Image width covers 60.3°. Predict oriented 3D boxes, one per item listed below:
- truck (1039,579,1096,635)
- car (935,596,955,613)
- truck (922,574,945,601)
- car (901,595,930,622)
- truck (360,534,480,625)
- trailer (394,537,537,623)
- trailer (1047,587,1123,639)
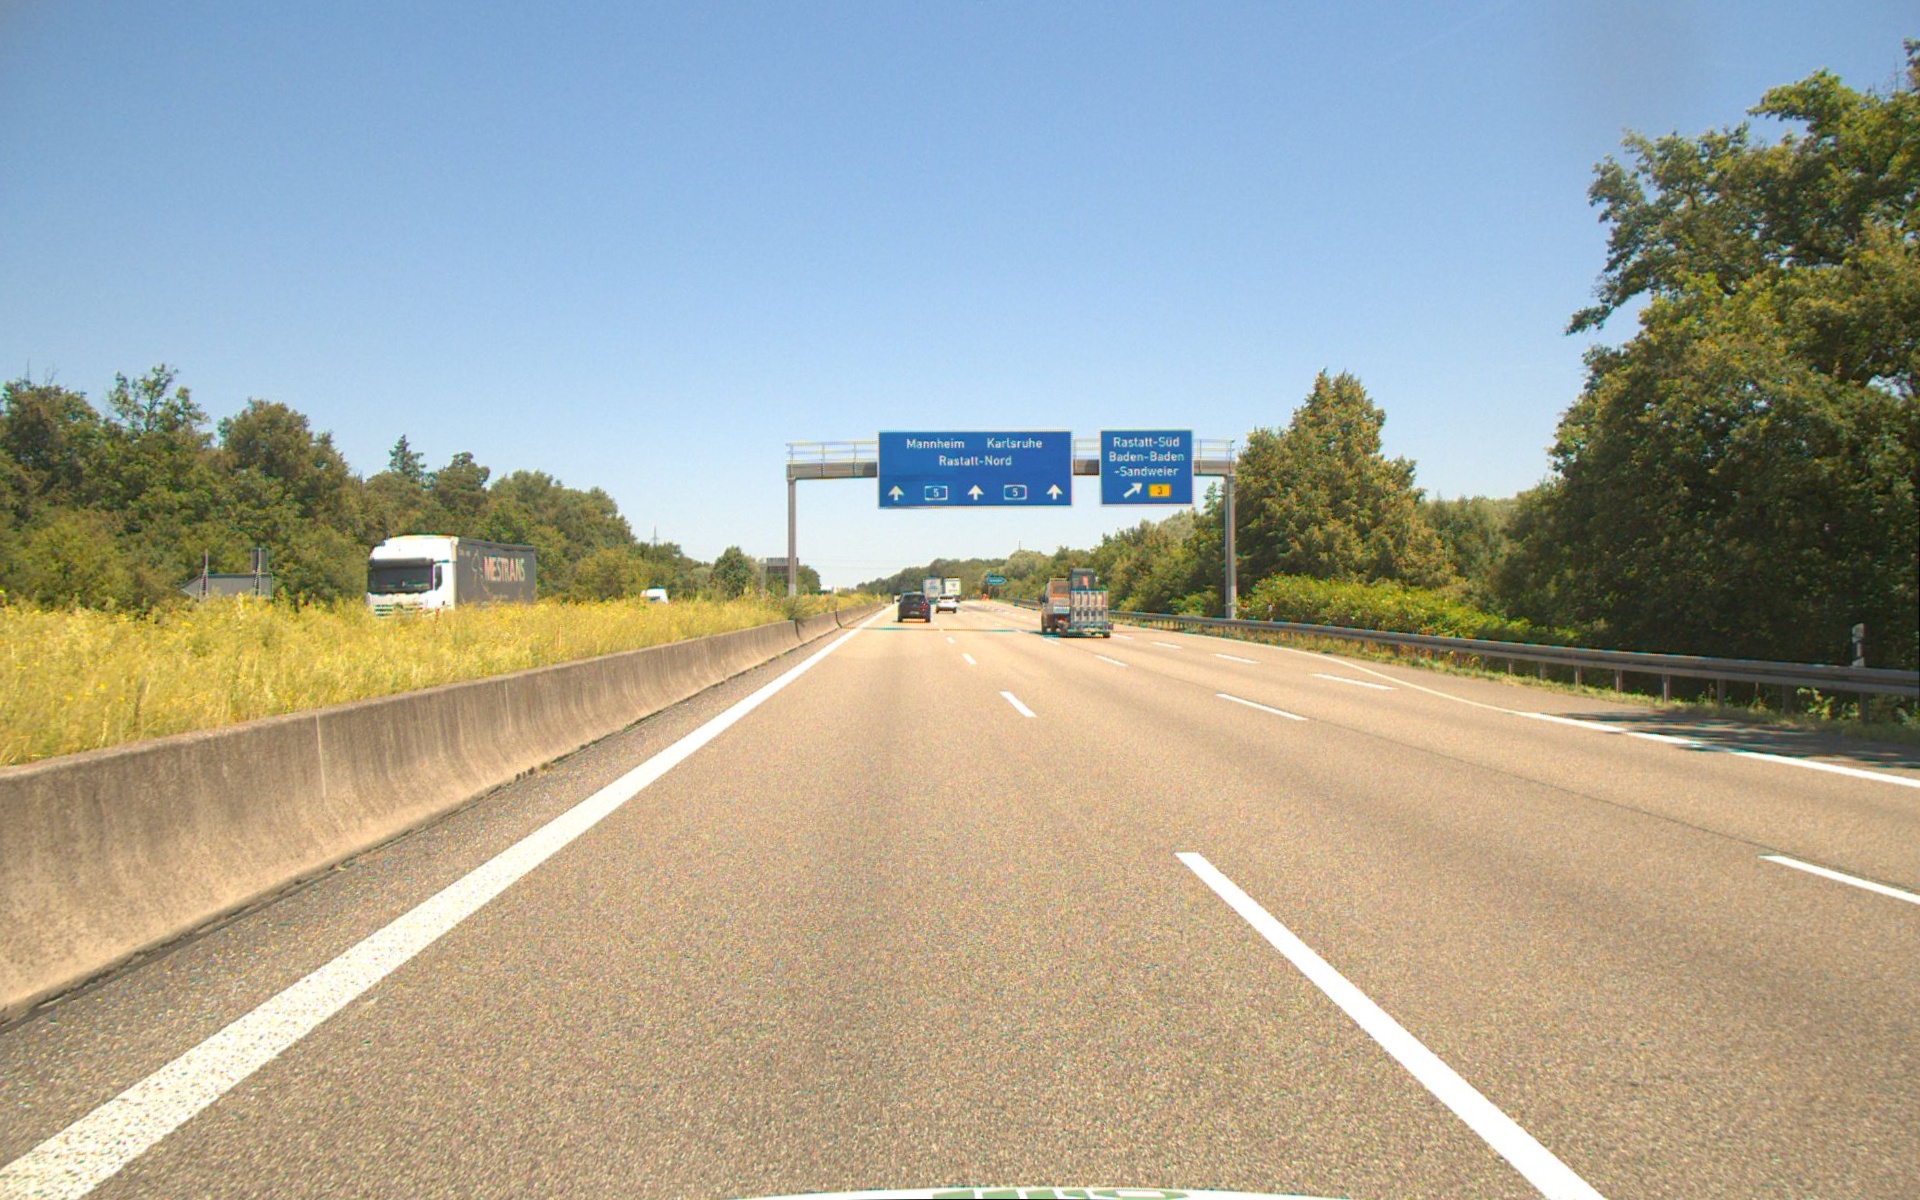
[{"bbox_3d":[4.781,0.303,74.173,1.954,2.415,4.641,0,0,-3],"label":"truck"},{"bbox_3d":[-1.354,0.378,148.168,1.705,1.512,3.998,0,0,-2],"label":"car"},{"bbox_3d":[-4.206,-1.921,257.816,3.243,4.064,8.398,1,-1,-3],"label":"truck"},{"bbox_3d":[-2.683,0.481,99.361,1.627,1.576,3.780,0,0,-3],"label":"car"},{"bbox_3d":[-19.573,-0.715,60.311,2.589,3.138,5.846,1,0,-2],"label":"truck"},{"bbox_3d":[-19.805,-0.740,67.140,2.548,3.156,11.949,1,0,-2],"label":"trailer"},{"bbox_3d":[5.118,0.516,68.827,2.372,2.049,6.029,0,0,-3],"label":"trailer"}]
